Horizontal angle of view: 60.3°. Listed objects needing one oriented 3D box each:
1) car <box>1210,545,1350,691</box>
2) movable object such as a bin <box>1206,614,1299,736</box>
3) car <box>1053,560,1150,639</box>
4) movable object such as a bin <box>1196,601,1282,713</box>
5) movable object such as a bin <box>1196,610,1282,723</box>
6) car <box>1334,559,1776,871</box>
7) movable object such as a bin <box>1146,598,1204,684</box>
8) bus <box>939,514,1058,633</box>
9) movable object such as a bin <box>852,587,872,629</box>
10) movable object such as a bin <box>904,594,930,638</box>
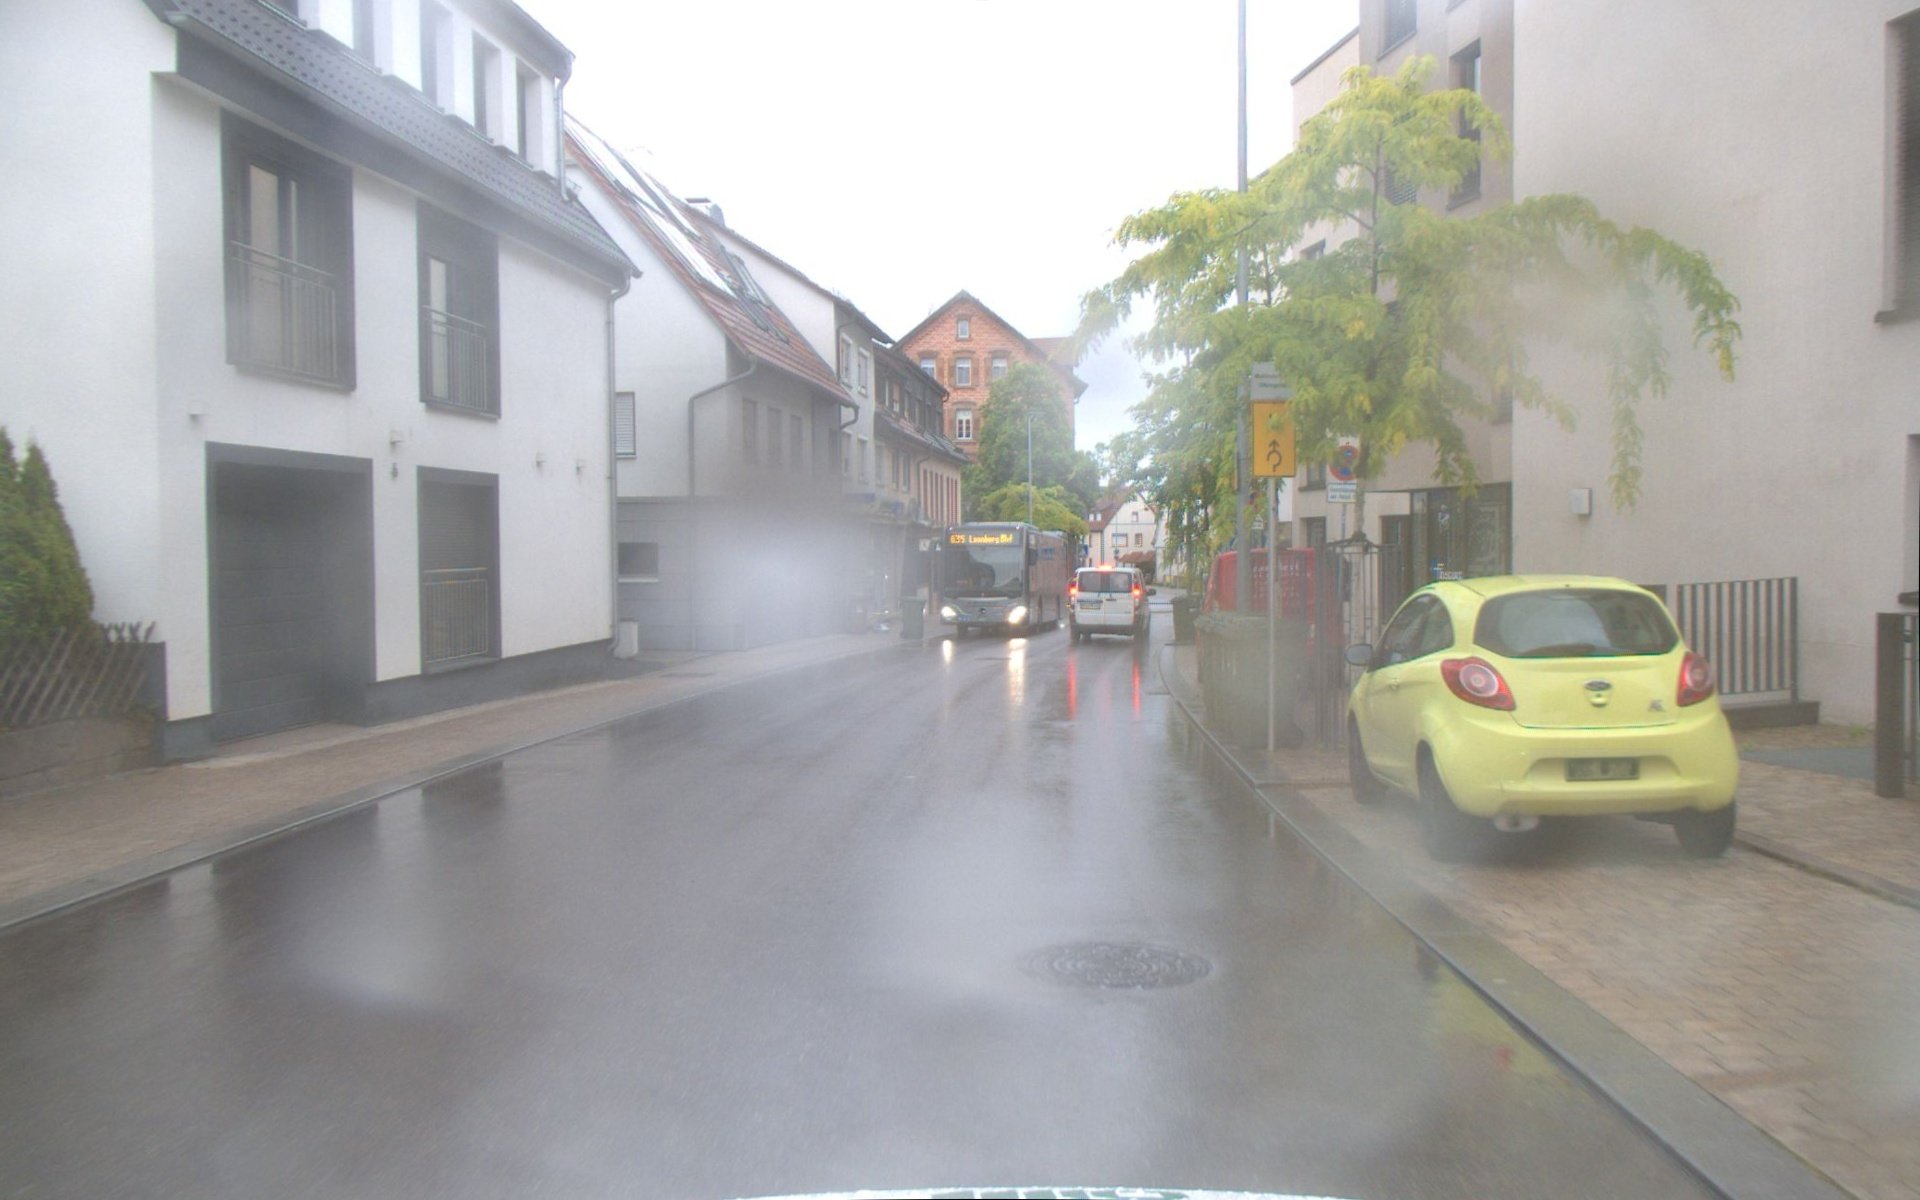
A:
[{"bbox_3d":[4.255,0.225,22.410,1.675,1.792,4.003,0,0,9],"label":"car"},{"bbox_3d":[2.812,0.708,15.981,0.793,1.128,0.986,0,0,5],"label":"movable object such as a bin"},{"bbox_3d":[3.730,-0.033,42.946,2.148,1.884,4.308,-1,0,9],"label":"car"},{"bbox_3d":[2.893,0.581,17.238,0.793,1.128,0.986,0,0,5],"label":"movable object such as a bin"},{"bbox_3d":[2.879,0.675,17.136,0.793,1.128,0.986,0,0,5],"label":"movable object such as a bin"},{"bbox_3d":[3.388,0.557,10.033,1.569,1.509,3.303,-3,1,3],"label":"car"},{"bbox_3d":[3.092,0.577,23.770,0.793,1.206,0.987,0,0,8],"label":"movable object such as a bin"},{"bbox_3d":[1.317,-0.722,49.323,2.682,3.185,9.240,0,0,7],"label":"bus"},{"bbox_3d":[-2.637,0.213,44.653,0.507,1.142,0.635,0,0,-2],"label":"movable object such as a bin"},{"bbox_3d":[-1.128,0.423,43.345,0.620,1.142,0.520,0,0,2],"label":"movable object such as a bin"}]
